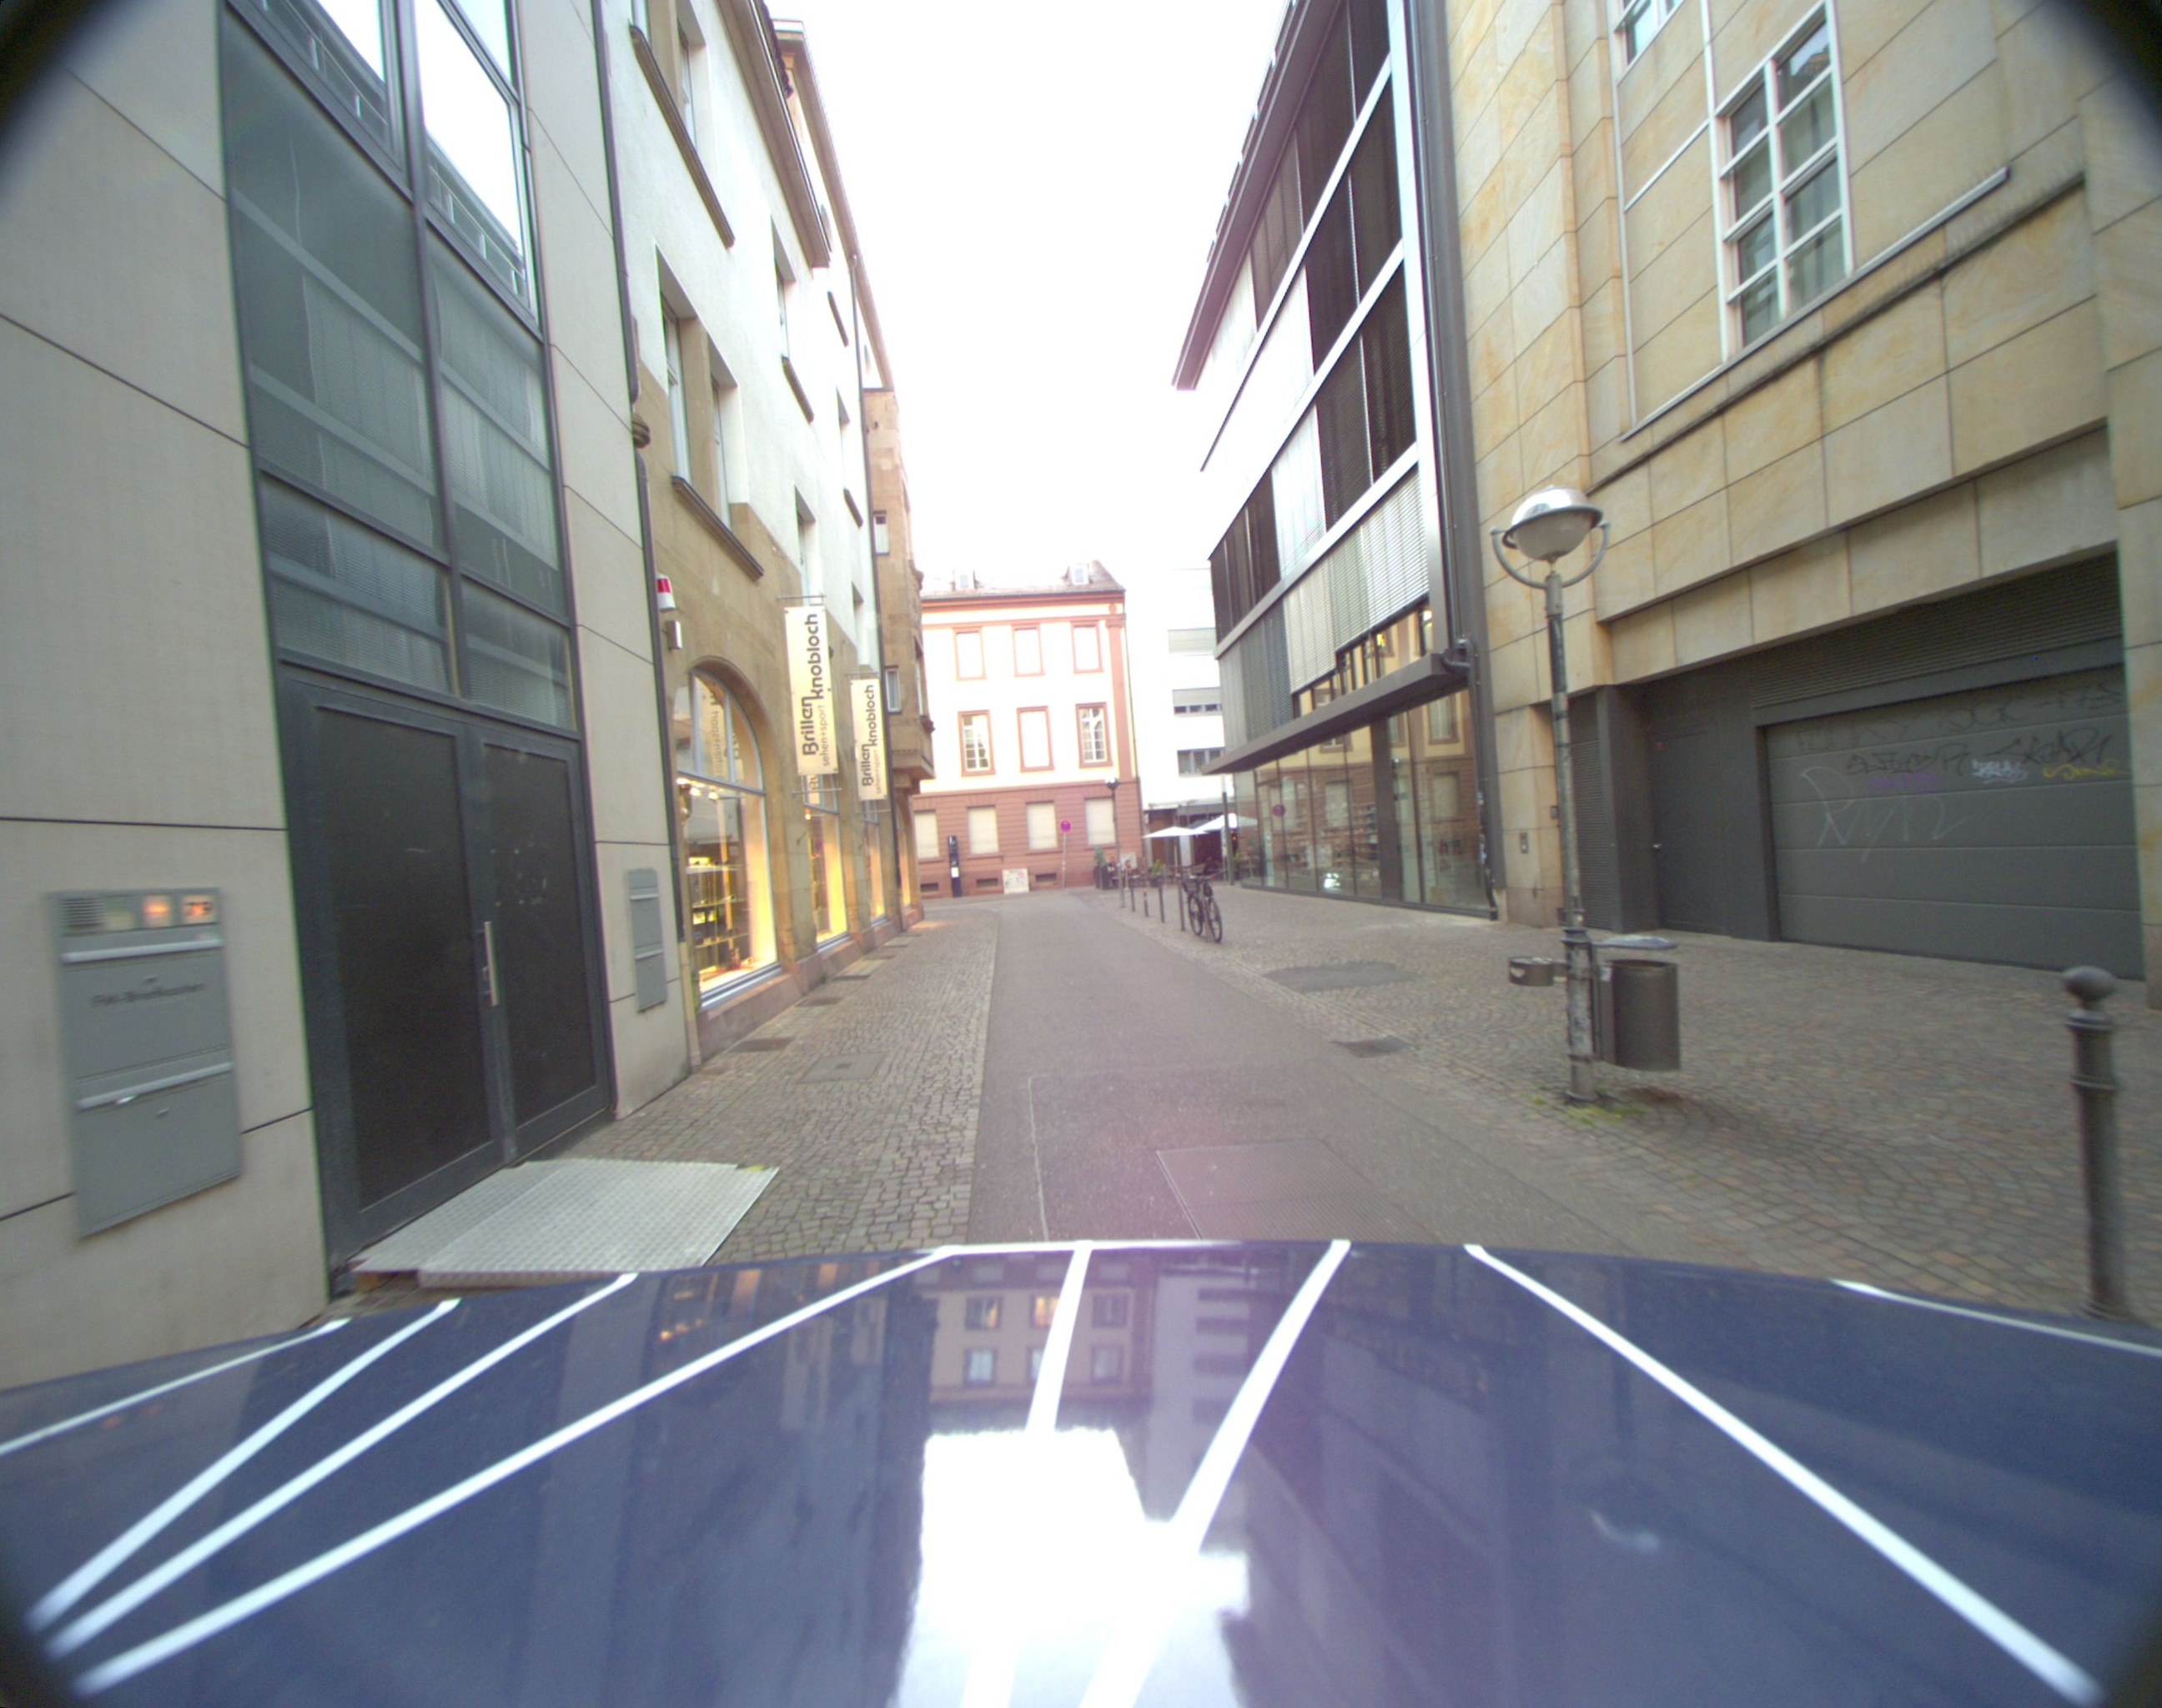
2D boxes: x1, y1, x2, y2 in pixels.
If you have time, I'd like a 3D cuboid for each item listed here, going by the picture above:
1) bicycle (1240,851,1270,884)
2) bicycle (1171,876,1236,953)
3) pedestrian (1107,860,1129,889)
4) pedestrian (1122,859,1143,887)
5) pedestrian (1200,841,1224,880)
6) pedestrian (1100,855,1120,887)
[{"bbox_3d":[6.299,0.500,27.628,0.467,1.129,1.702,-5,-2,-6],"label":"bicycle"},{"bbox_3d":[2.031,0.978,12.830,0.411,1.126,1.929,-5,1,-9],"label":"bicycle"},{"bbox_3d":[1.560,0.869,32.311,0.674,1.177,0.792,-5,2,-11],"label":"pedestrian"},{"bbox_3d":[2.262,0.835,33.446,0.673,1.177,0.792,-4,2,-7],"label":"pedestrian"},{"bbox_3d":[5.868,0.296,34.002,0.725,1.639,0.792,-5,1,-11],"label":"pedestrian"},{"bbox_3d":[1.286,0.756,33.734,0.673,1.324,0.792,-4,2,-7],"label":"pedestrian"}]
